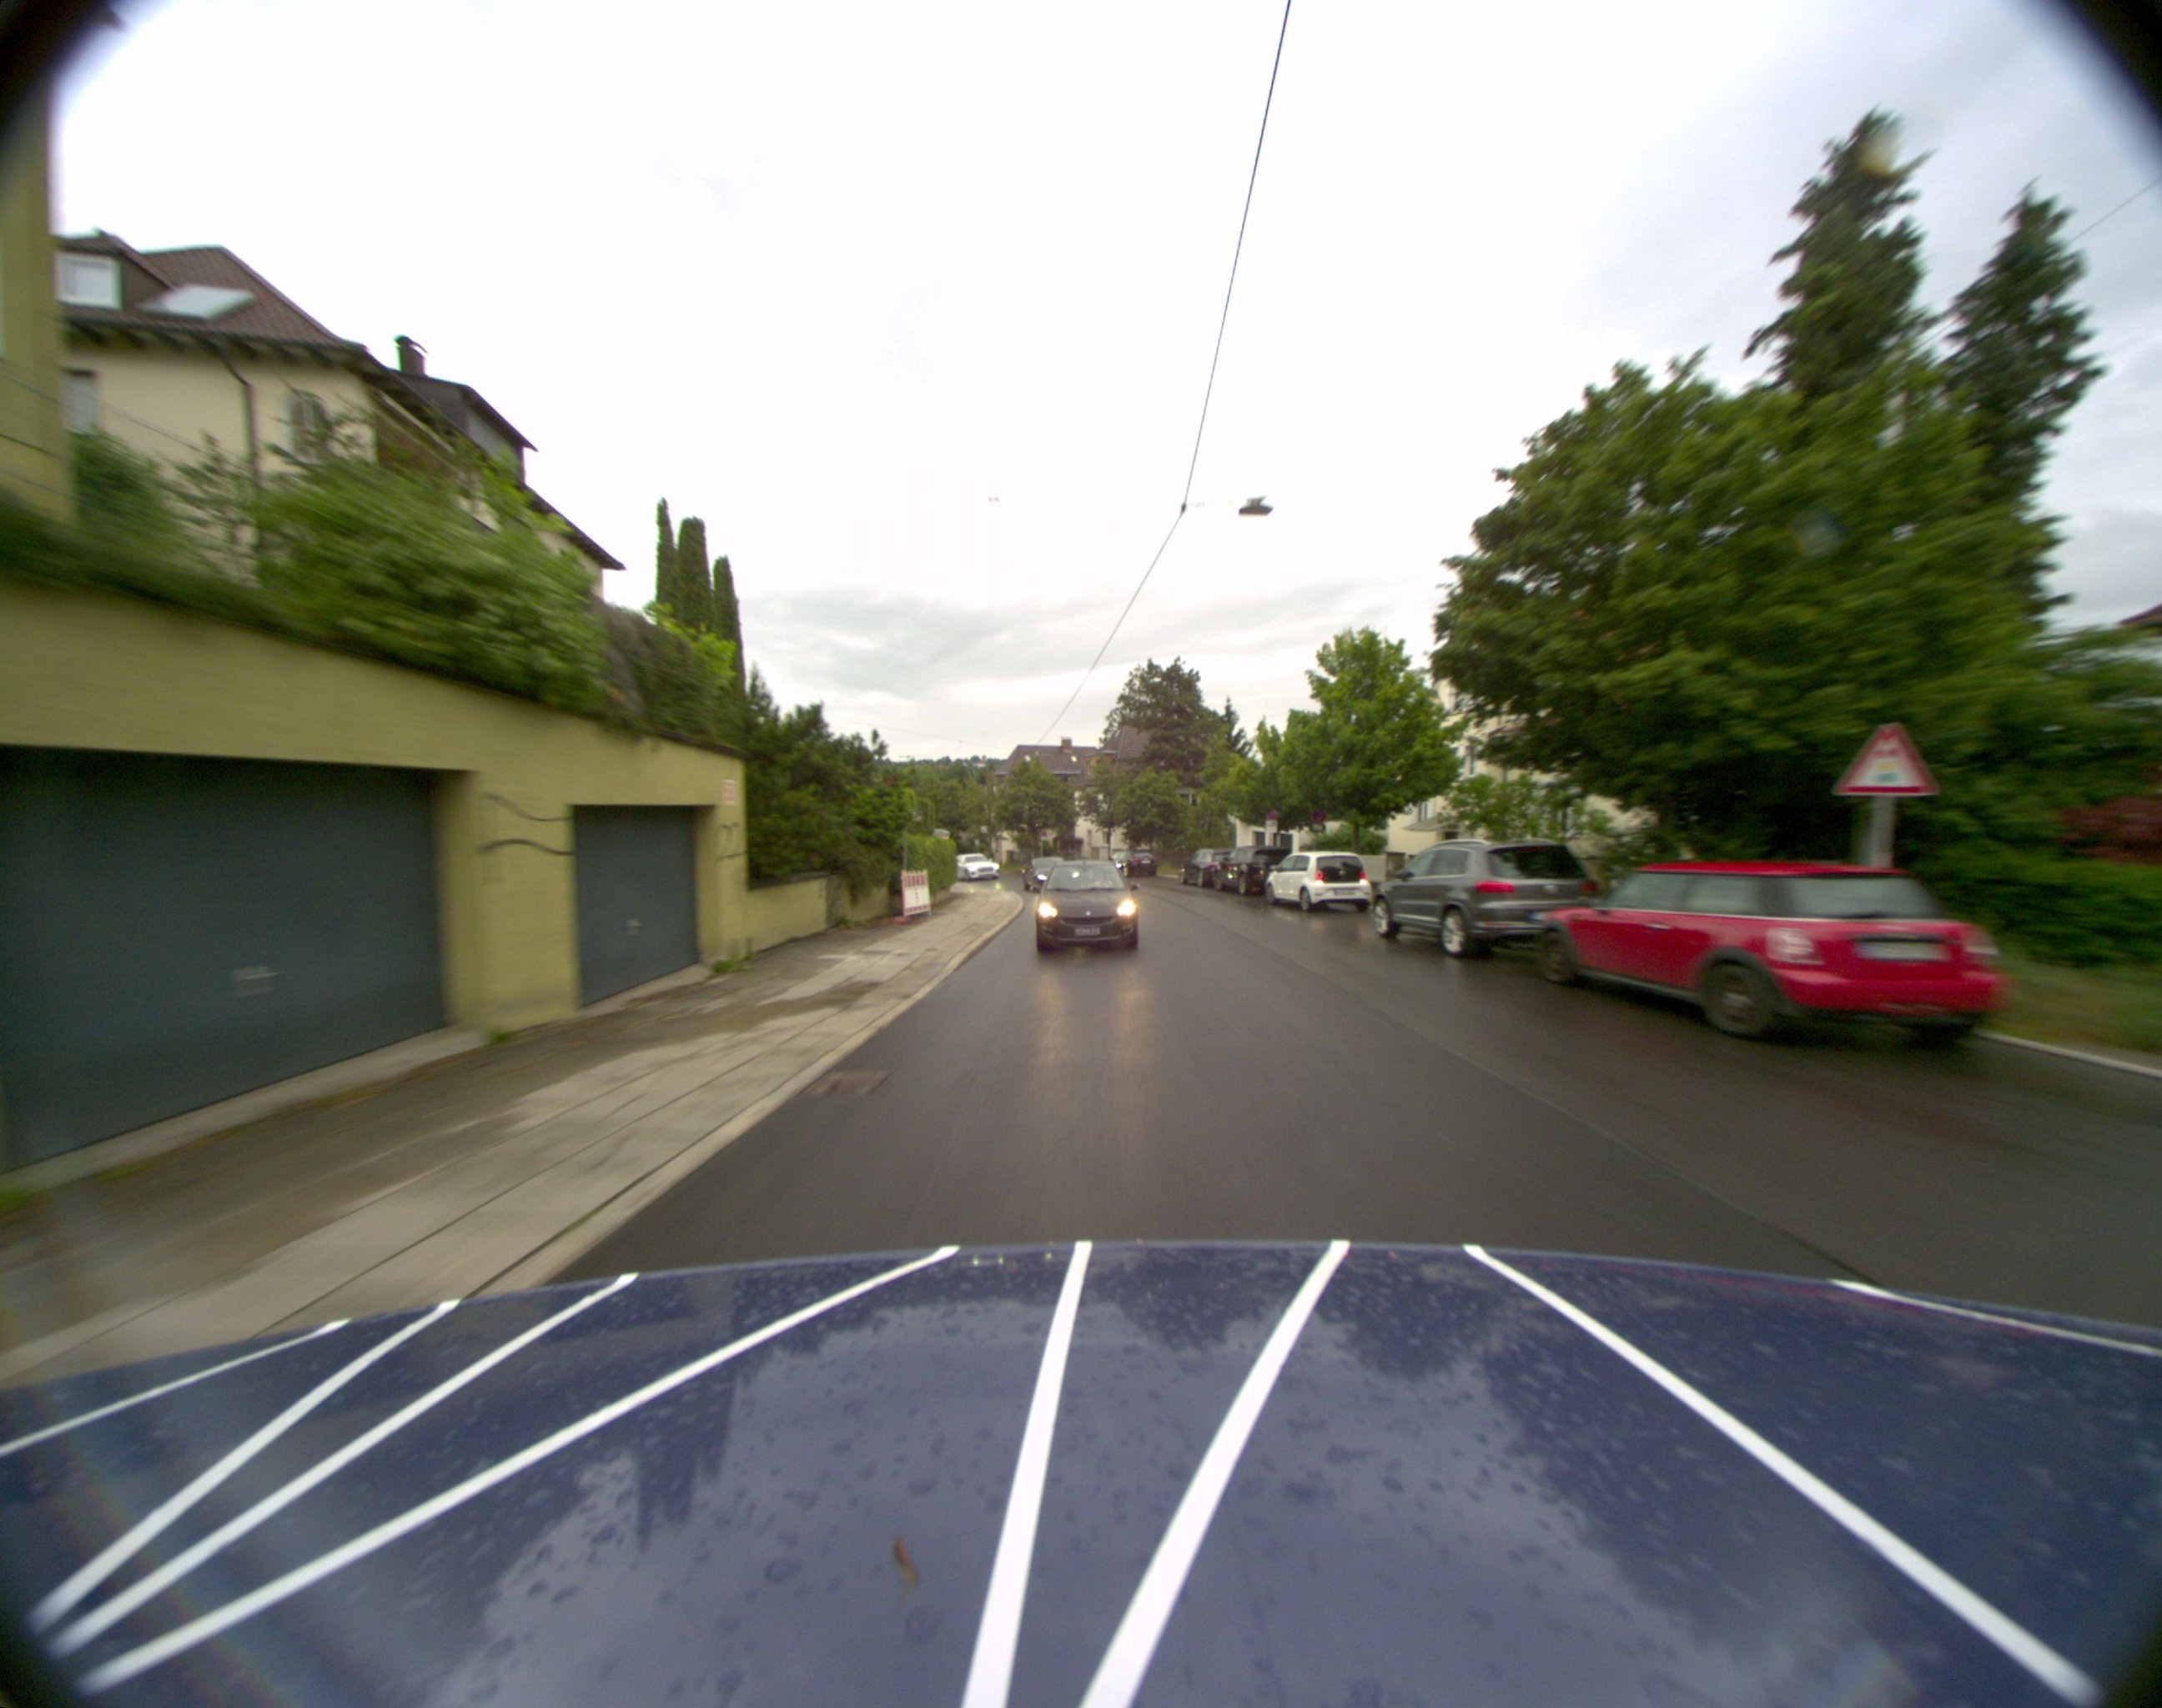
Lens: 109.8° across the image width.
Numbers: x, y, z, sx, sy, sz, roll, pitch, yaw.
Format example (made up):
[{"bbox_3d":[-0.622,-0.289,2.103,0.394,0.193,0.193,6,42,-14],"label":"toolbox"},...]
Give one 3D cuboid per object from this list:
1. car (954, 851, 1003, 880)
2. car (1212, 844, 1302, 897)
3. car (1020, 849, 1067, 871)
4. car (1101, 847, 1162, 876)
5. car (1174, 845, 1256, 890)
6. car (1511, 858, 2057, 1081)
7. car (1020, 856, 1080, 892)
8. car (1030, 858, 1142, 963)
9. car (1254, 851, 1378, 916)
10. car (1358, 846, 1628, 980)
[{"bbox_3d":[-6.598,0.669,48.483,2.003,1.699,4.565,-2,1,-22],"label":"car"},{"bbox_3d":[5.857,0.476,25.797,1.738,1.537,4.207,-3,1,-4],"label":"car"},{"bbox_3d":[-3.615,0.578,72.886,4.004,1.575,1.852,9,-1,-16],"label":"car"},{"bbox_3d":[2.724,0.372,41.968,1.677,1.458,3.886,-2,1,-24],"label":"car"},{"bbox_3d":[5.315,0.470,30.878,1.872,1.537,4.900,-3,1,-7],"label":"car"},{"bbox_3d":[5.977,0.821,7.228,1.686,1.463,3.865,0,1,2],"label":"car"},{"bbox_3d":[-1.428,0.819,33.515,1.845,1.395,4.066,-2,1,-13],"label":"car"},{"bbox_3d":[0.099,0.883,13.992,1.674,1.458,4.715,-2,1,0],"label":"car"},{"bbox_3d":[6.076,0.689,20.144,1.738,1.458,3.998,-3,1,-4],"label":"car"},{"bbox_3d":[6.028,0.732,11.849,1.805,1.659,4.425,0,1,0],"label":"car"}]
